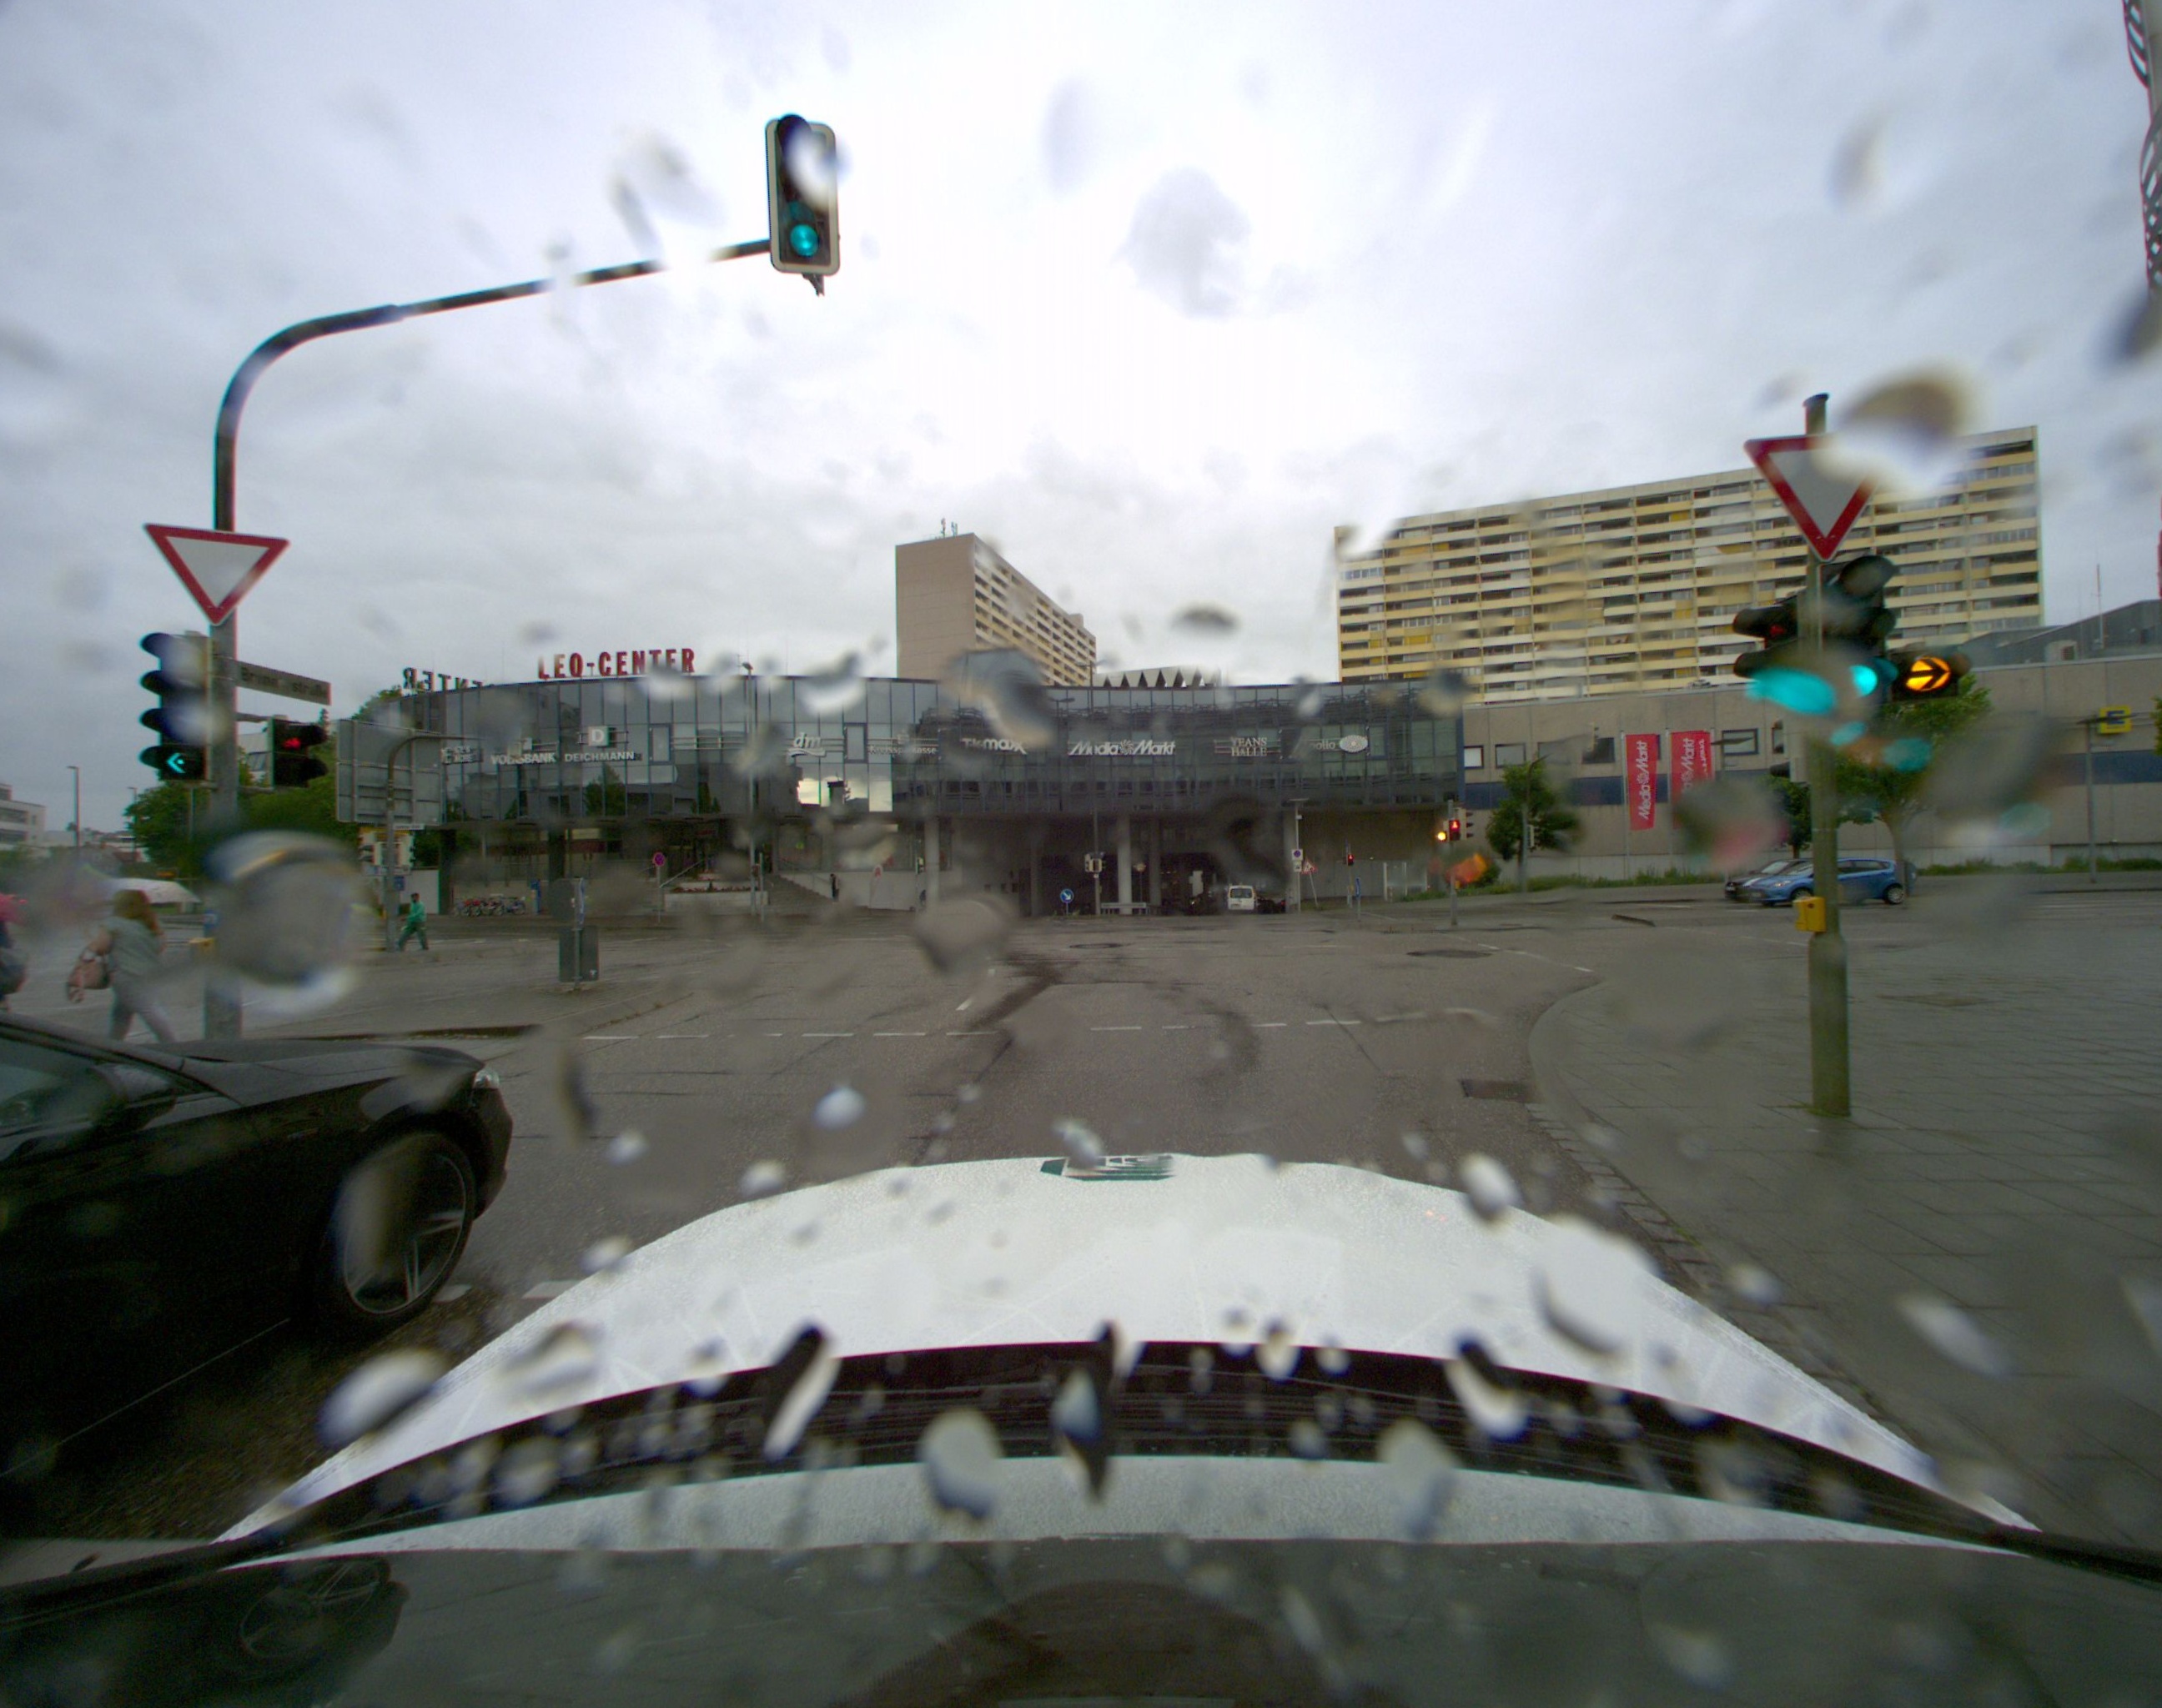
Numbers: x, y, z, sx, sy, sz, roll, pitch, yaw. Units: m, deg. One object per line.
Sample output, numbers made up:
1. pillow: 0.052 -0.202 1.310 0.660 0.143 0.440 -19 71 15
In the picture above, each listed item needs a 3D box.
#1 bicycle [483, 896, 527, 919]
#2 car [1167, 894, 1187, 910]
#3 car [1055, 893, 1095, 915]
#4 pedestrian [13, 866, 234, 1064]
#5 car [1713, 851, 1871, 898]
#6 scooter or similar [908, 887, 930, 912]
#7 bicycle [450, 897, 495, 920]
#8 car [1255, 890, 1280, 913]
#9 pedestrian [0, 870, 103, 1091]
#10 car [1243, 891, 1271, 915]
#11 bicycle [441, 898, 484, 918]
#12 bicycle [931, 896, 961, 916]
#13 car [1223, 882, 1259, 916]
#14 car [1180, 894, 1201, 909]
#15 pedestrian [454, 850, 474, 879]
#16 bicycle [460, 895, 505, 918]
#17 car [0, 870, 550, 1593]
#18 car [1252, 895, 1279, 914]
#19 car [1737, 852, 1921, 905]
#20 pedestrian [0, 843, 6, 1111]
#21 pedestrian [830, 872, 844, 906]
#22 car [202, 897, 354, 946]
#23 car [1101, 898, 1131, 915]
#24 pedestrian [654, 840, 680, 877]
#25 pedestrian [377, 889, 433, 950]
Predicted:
1. bicycle: -30.933 2.868 43.793 0.625 1.023 1.864 -3 0 19
2. car: 11.188 5.521 94.466 1.824 1.728 4.013 -2 -2 12
3. car: -0.398 3.778 60.958 1.877 1.470 4.043 -2 -6 17
4. pedestrian: -8.720 0.961 7.472 0.932 1.677 0.916 -2 -2 0
5. car: 24.342 0.725 28.015 3.661 1.395 1.749 -3 -2 10
6. scooter or similar: -9.308 2.609 46.761 1.168 1.373 0.487 1 -2 -14
7. bicycle: -33.202 2.967 44.464 0.622 1.033 1.864 -3 1 19
8. car: 15.735 3.968 68.659 1.778 1.771 4.016 -3 -2 16
9. pedestrian: -8.572 0.982 6.450 0.668 1.685 0.808 -2 -2 6
10. car: 12.791 3.585 59.186 1.620 1.612 4.279 -3 -4 16
11. bicycle: -33.874 2.950 44.632 0.529 0.951 1.865 -1 2 22
12. bicycle: -7.816 3.016 47.076 1.591 1.018 0.448 6 -4 -30
13. car: 9.277 2.575 47.034 1.913 1.798 4.309 -2 -3 12
14. car: 13.548 5.840 100.253 1.978 1.664 4.017 0 -1 17
15. pedestrian: -36.205 0.628 47.785 0.592 1.714 0.658 -1 -2 24
16. bicycle: -32.493 2.837 44.230 0.640 1.042 1.864 -3 1 19
17. car: -3.096 0.810 1.427 1.658 1.481 4.093 0 0 -1
18. car: 14.561 3.966 64.273 1.766 1.400 4.016 -3 -4 17
19. car: 22.957 0.774 25.137 3.820 1.397 1.683 -3 -2 9
20. pedestrian: -7.742 0.819 5.266 1.123 1.744 0.865 -3 -2 33
21. pedestrian: -13.710 1.969 45.727 0.655 1.908 0.593 0 -2 -7
22. car: -26.191 2.193 26.584 3.950 1.441 1.753 -1 -1 15
23. car: 3.172 4.686 72.833 1.757 1.464 3.891 -3 -4 17
24. pedestrian: -22.924 0.262 45.108 0.823 2.014 0.957 0 -2 20
25. pedestrian: -18.589 1.793 22.404 0.941 1.623 0.813 -2 -1 21
